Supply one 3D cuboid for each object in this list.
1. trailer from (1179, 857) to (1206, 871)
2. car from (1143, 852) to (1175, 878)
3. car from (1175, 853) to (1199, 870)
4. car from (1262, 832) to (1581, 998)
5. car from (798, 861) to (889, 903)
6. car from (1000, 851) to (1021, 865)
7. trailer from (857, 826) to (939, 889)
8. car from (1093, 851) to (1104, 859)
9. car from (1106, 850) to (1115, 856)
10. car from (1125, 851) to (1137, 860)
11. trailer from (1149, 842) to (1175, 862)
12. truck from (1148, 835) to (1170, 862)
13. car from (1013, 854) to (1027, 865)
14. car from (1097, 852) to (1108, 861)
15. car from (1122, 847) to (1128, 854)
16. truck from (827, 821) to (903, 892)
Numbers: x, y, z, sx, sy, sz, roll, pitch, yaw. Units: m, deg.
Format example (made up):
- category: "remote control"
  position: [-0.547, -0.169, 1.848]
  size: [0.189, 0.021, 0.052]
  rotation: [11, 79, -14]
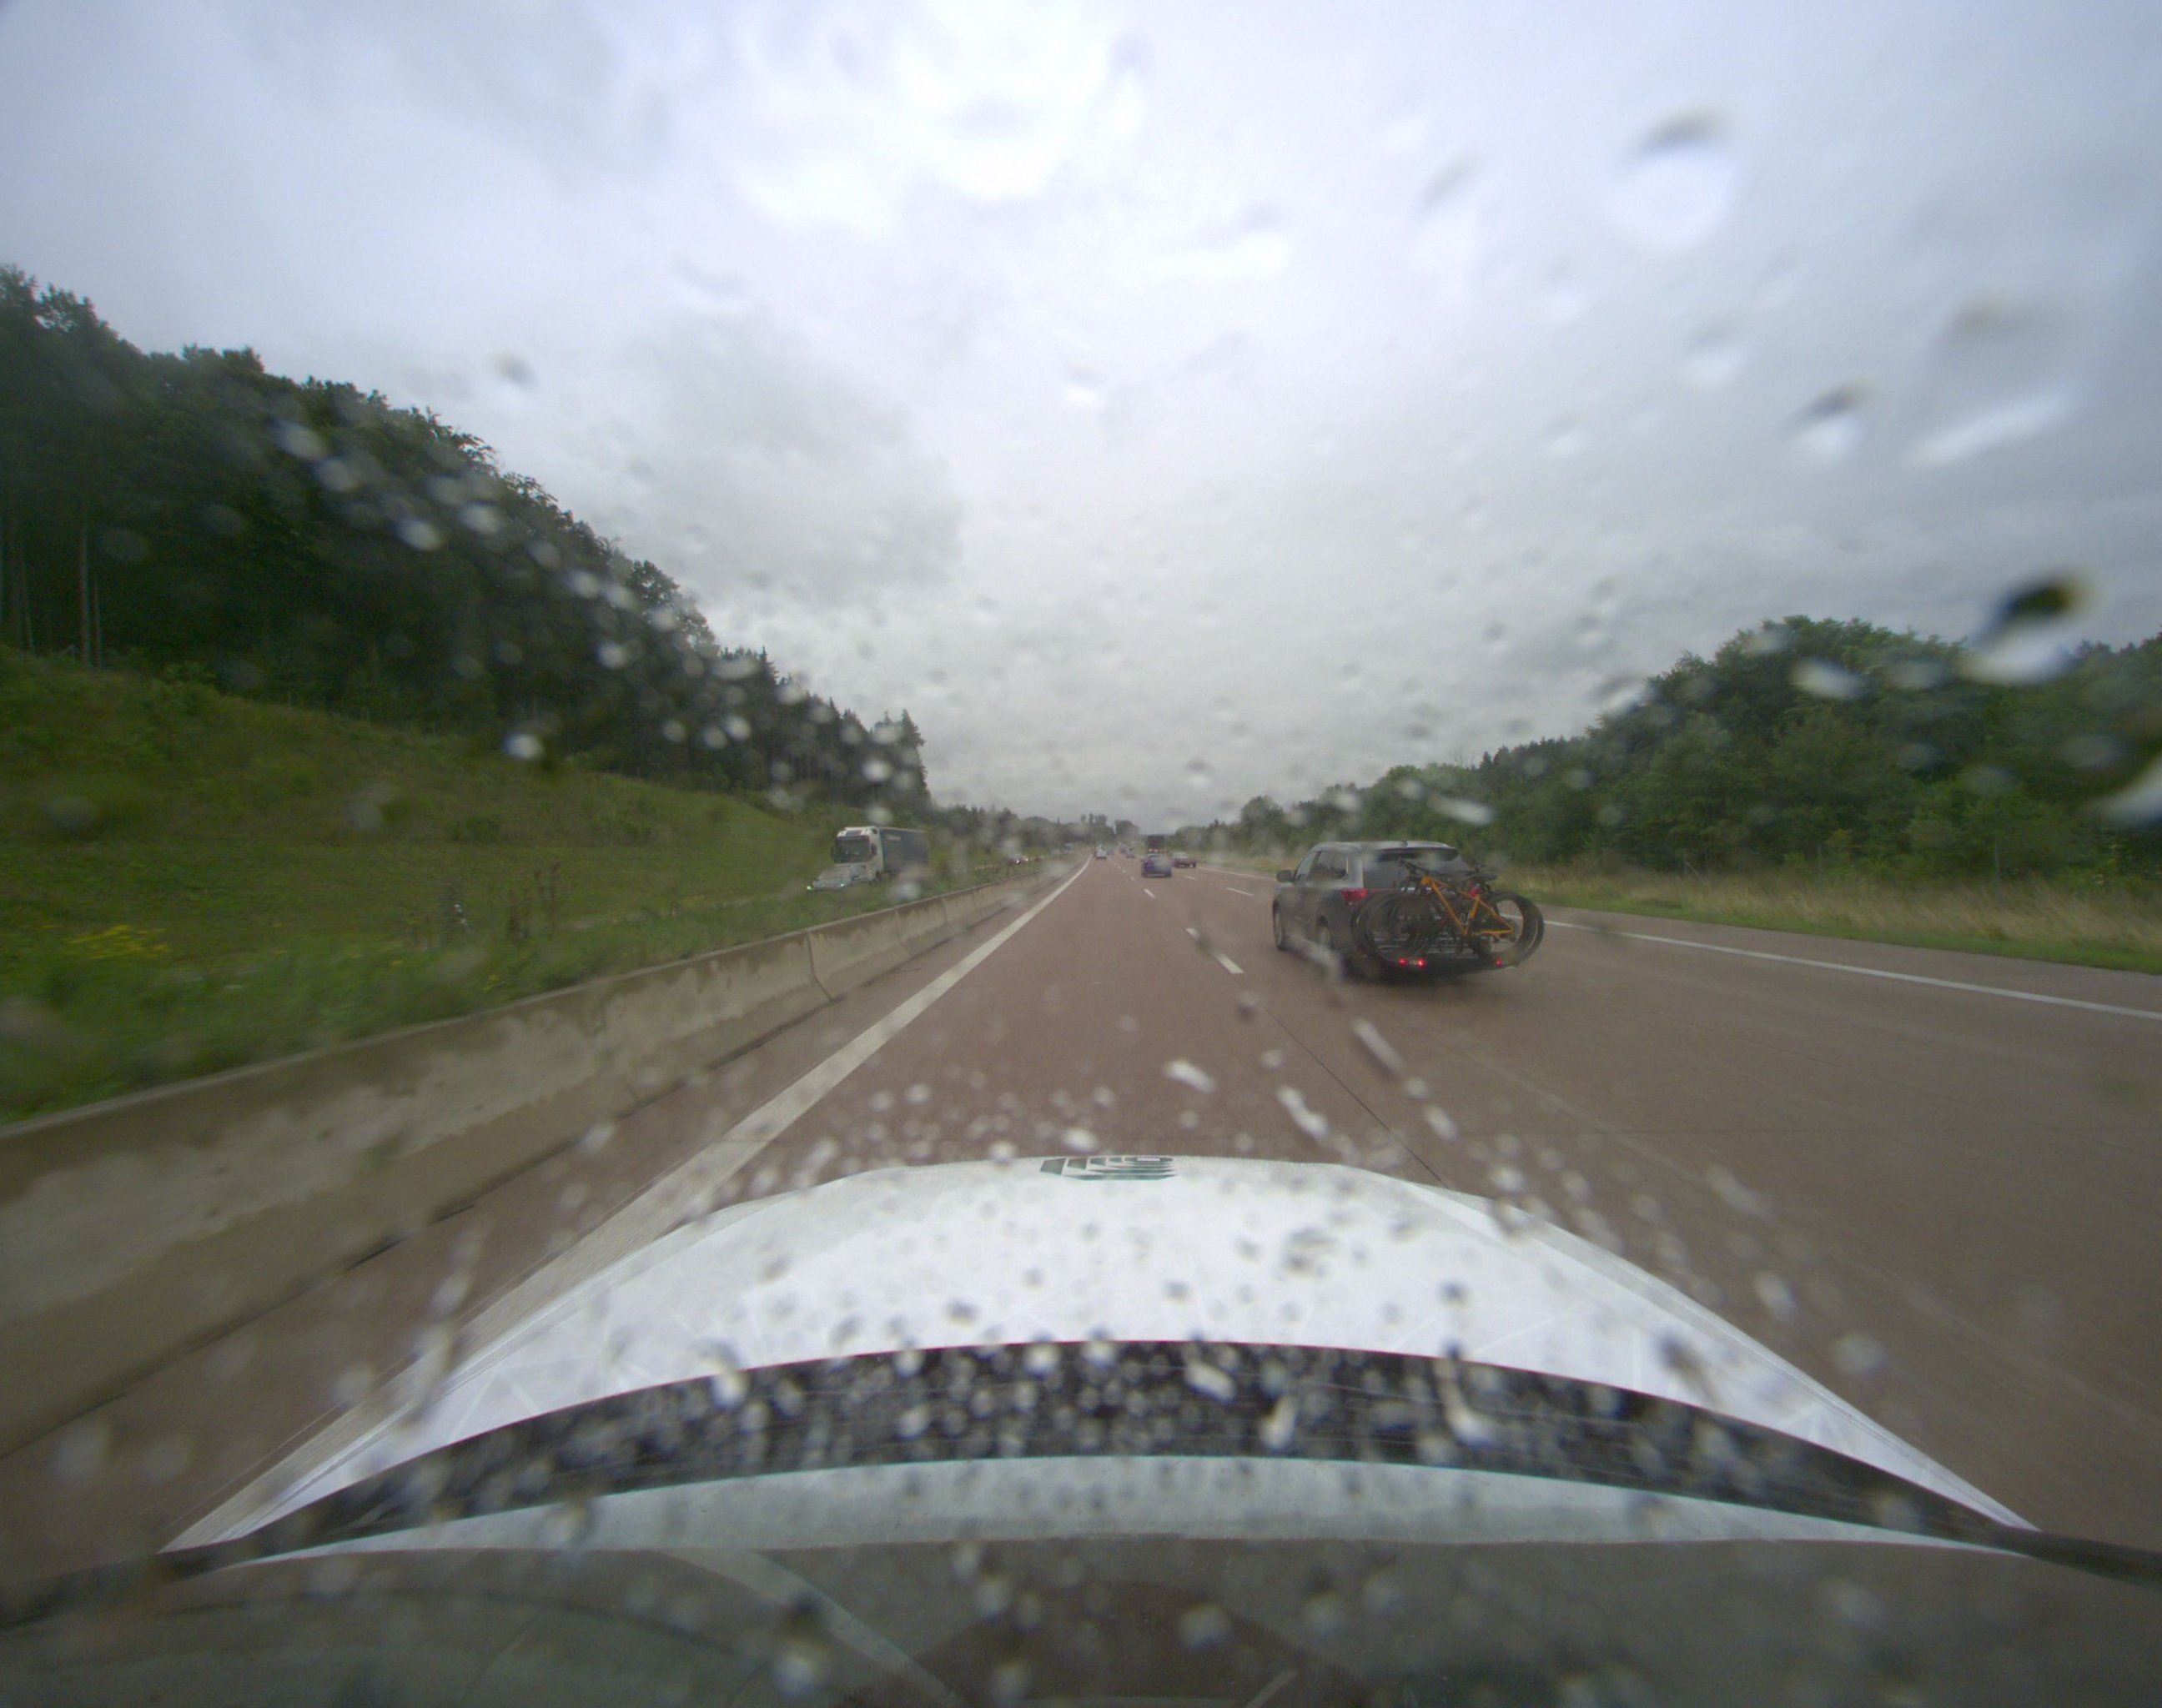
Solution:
- category: "trailer"
  position: [10.107, 0.902, 74.030]
  size: [1.964, 1.166, 4.641]
  rotation: [0, 1, 2]
- category: "car"
  position: [4.897, 0.707, 51.520]
  size: [1.764, 1.564, 4.148]
  rotation: [0, -1, 2]
- category: "car"
  position: [10.226, 0.719, 78.858]
  size: [1.692, 1.611, 4.978]
  rotation: [-1, 0, 1]
- category: "car"
  position: [3.932, 0.622, 10.787]
  size: [1.986, 1.592, 5.823]
  rotation: [0, -1, 2]
- category: "car"
  position: [-10.462, 1.179, 36.486]
  size: [2.041, 1.693, 6.386]
  rotation: [0, -1, 2]
- category: "car"
  position: [-9.031, 0.502, 104.967]
  size: [1.986, 1.767, 5.097]
  rotation: [-1, 1, 2]
- category: "trailer"
  position: [-13.959, 0.304, 63.686]
  size: [2.908, 4.339, 13.584]
  rotation: [0, -1, 2]
- category: "car"
  position: [4.009, 0.228, 184.353]
  size: [2.313, 1.750, 4.879]
  rotation: [0, -1, 2]
- category: "car"
  position: [7.999, -0.286, 219.536]
  size: [2.313, 1.750, 4.879]
  rotation: [0, -1, 2]
- category: "car"
  position: [10.169, 0.291, 166.277]
  size: [2.313, 1.750, 4.879]
  rotation: [0, -1, 2]
- category: "trailer"
  position: [11.289, -0.162, 114.435]
  size: [2.870, 2.675, 11.404]
  rotation: [0, -1, 2]
- category: "truck"
  position: [11.613, -0.778, 122.118]
  size: [2.886, 3.964, 6.992]
  rotation: [0, -1, 2]
- category: "car"
  position: [-9.318, 0.863, 124.265]
  size: [1.720, 1.529, 4.118]
  rotation: [0, -1, 1]
- category: "car"
  position: [3.842, 0.425, 145.699]
  size: [1.866, 1.444, 4.880]
  rotation: [0, 1, 2]
- category: "car"
  position: [13.833, -1.161, 256.909]
  size: [1.986, 2.014, 4.002]
  rotation: [0, -1, 2]
- category: "truck"
  position: [-14.248, 0.217, 54.320]
  size: [2.913, 4.390, 7.406]
  rotation: [0, -1, 2]
